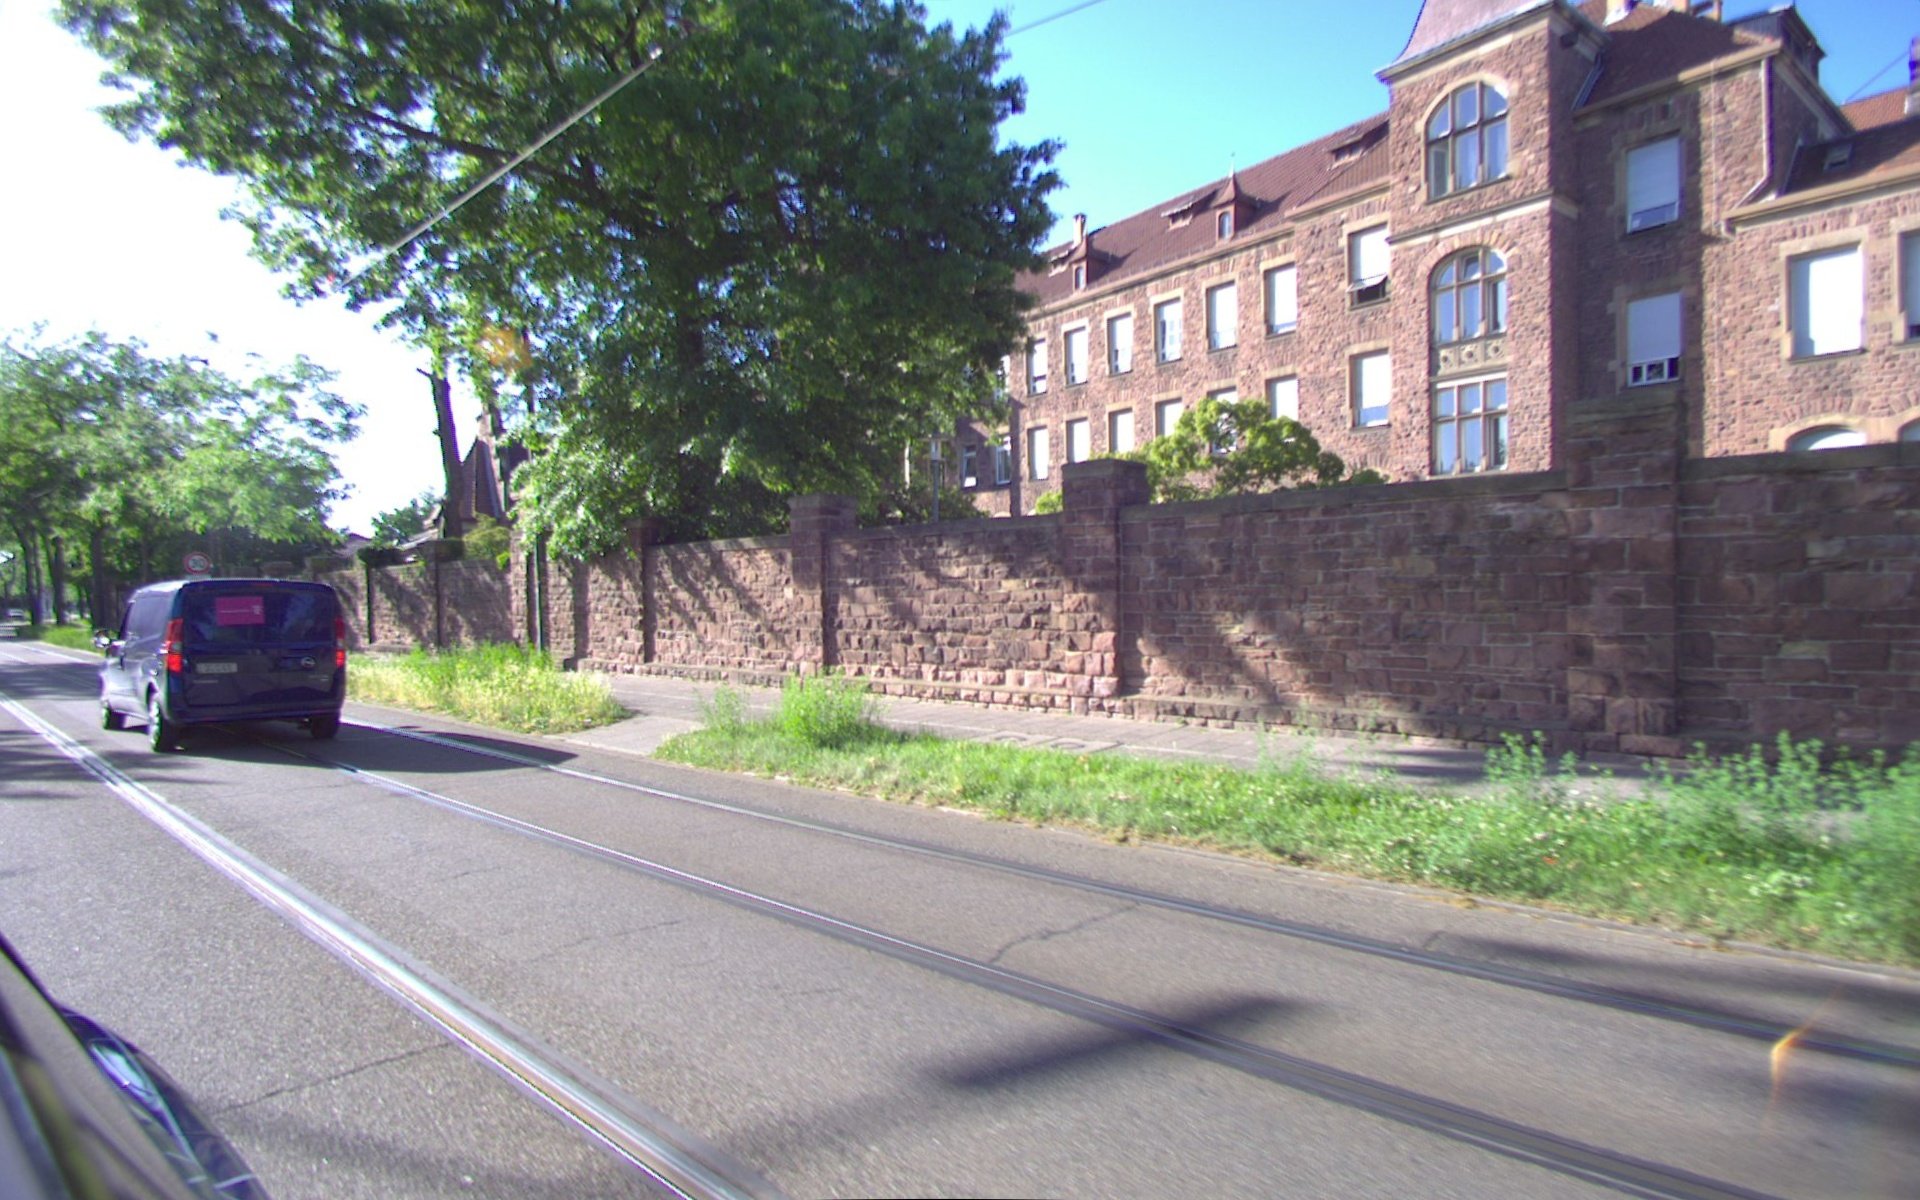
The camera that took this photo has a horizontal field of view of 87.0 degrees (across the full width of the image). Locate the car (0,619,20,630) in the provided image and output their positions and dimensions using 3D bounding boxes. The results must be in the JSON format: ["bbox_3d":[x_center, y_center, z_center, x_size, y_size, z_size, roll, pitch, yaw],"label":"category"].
[{"bbox_3d":[-135.539,3.443,144.257,1.968,1.494,4.008,-1,0,-37],"label":"car"}]

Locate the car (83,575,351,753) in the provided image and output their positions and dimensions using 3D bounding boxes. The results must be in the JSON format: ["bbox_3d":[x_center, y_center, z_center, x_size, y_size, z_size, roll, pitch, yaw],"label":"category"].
[{"bbox_3d":[-9.138,0.701,12.315,4.334,1.806,1.616,-1,-2,40],"label":"car"}]
